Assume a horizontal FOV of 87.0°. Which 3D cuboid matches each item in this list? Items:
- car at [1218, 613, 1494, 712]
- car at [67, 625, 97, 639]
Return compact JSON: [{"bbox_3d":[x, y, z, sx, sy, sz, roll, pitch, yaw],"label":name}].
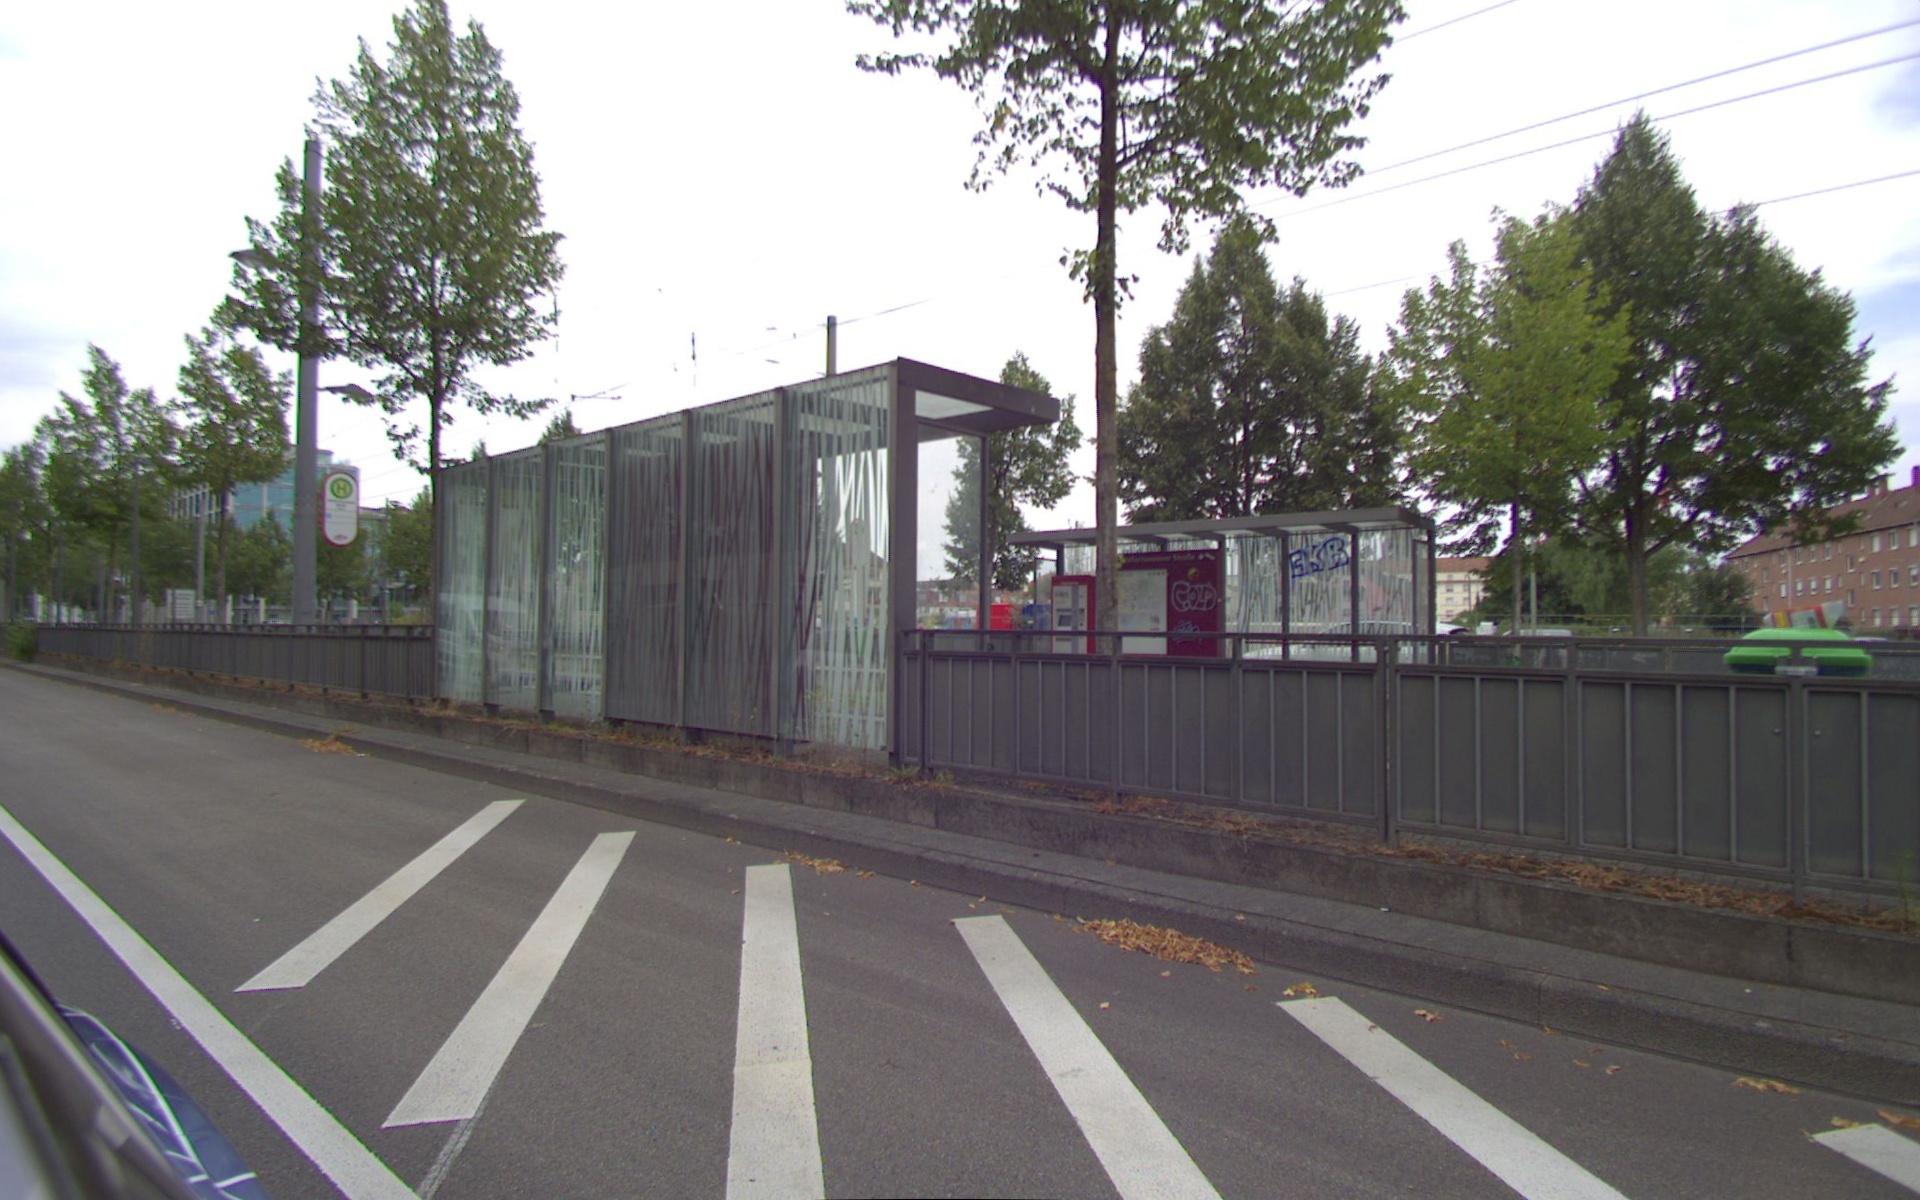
[{"bbox_3d":[7.290,1.107,18.892,4.383,1.630,1.972,-2,-3,42],"label":"car"},{"bbox_3d":[-103.997,3.799,119.855,4.686,1.669,1.809,-2,-1,39],"label":"car"}]
